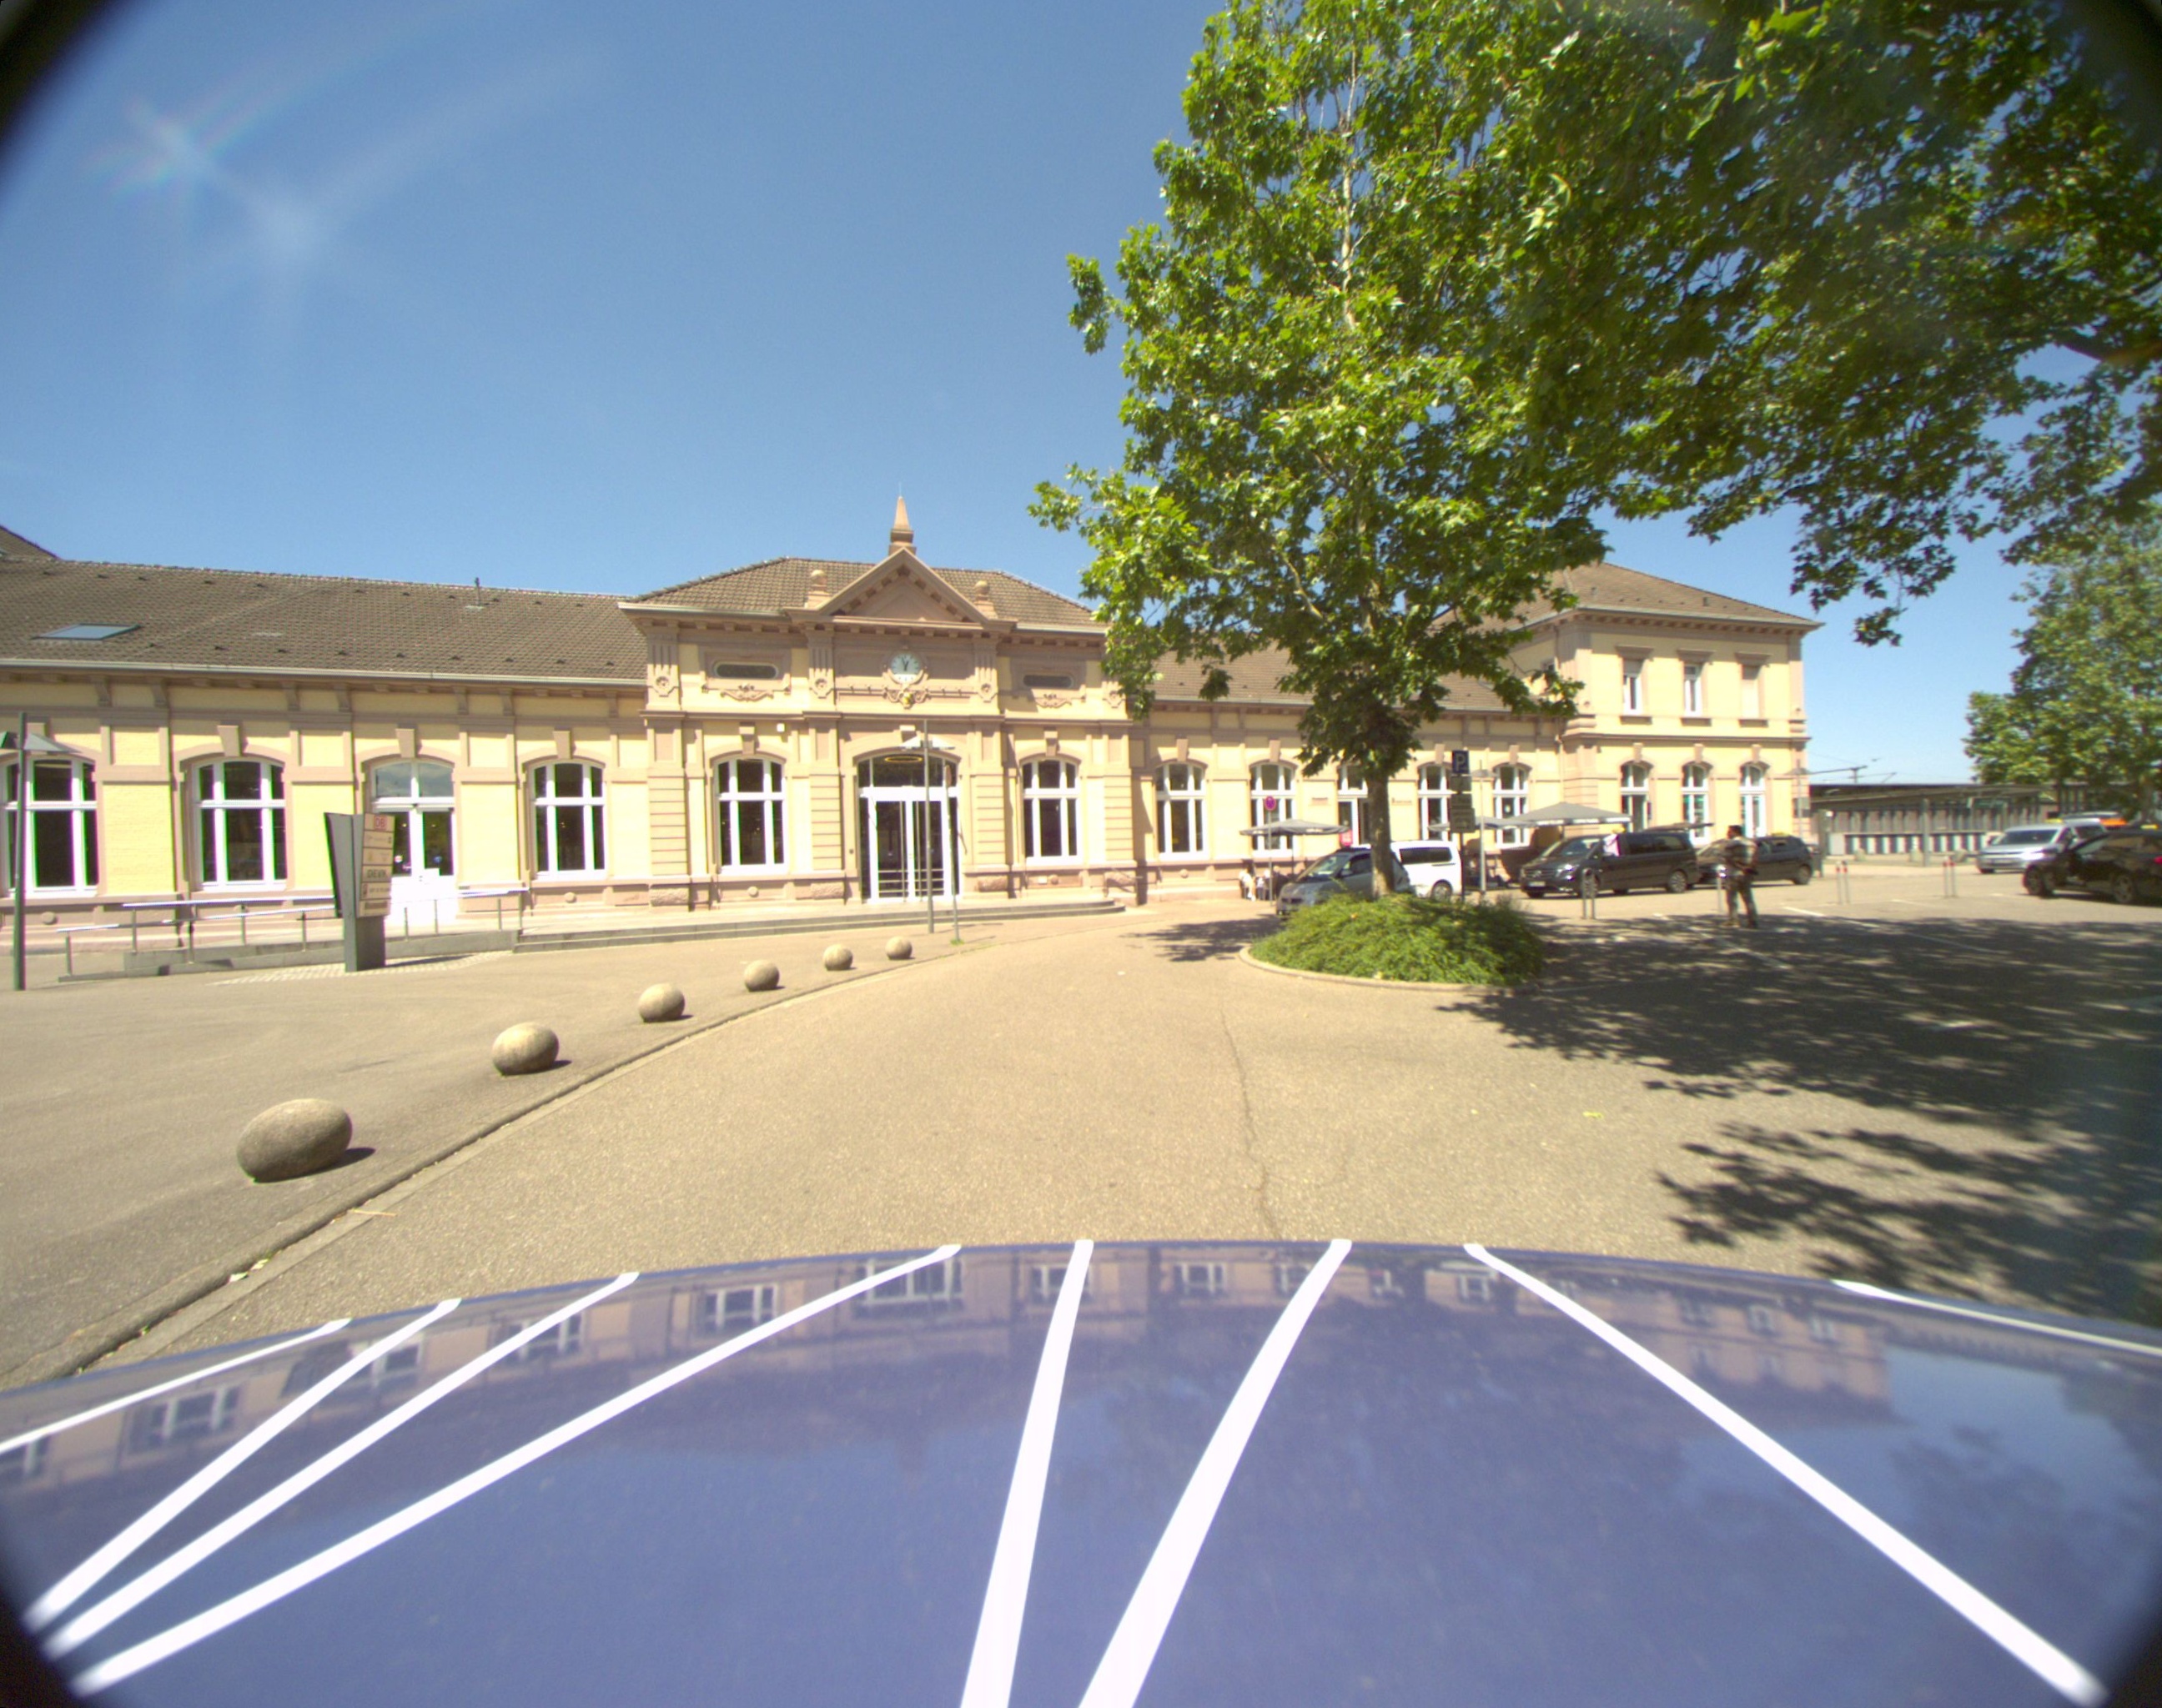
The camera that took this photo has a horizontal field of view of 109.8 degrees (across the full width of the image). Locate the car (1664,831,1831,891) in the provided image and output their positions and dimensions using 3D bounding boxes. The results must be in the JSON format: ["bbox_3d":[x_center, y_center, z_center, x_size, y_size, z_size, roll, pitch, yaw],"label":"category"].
[{"bbox_3d":[21.856,0.218,24.934,4.845,1.829,2.077,-1,-1,-21],"label":"car"}]

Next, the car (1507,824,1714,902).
[{"bbox_3d":[15.733,0.230,22.561,5.831,2.111,2.090,-1,-1,-21],"label":"car"}]

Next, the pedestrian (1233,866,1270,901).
[{"bbox_3d":[5.648,0.976,25.154,0.852,1.074,0.880,-2,2,-20],"label":"pedestrian"}]

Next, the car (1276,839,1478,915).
[{"bbox_3d":[8.083,0.583,20.797,5.143,1.854,1.812,-1,-1,-18],"label":"car"}]

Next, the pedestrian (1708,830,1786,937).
[{"bbox_3d":[11.046,0.478,12.638,0.772,1.707,0.816,-1,0,27],"label":"pedestrian"}]

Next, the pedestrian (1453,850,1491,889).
[{"bbox_3d":[14.366,0.567,27.928,0.852,1.363,0.880,-2,2,-20],"label":"pedestrian"}]

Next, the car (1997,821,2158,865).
[{"bbox_3d":[55.321,-0.567,42.330,2.053,2.107,4.959,-2,-2,-17],"label":"car"}]

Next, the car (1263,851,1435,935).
[{"bbox_3d":[5.751,0.783,16.390,3.108,1.584,1.600,-2,0,-16],"label":"car"}]

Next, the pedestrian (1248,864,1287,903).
[{"bbox_3d":[5.955,0.925,24.264,0.852,1.155,0.880,-2,2,-20],"label":"pedestrian"}]

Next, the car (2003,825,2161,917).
[{"bbox_3d":[21.275,0.253,15.294,1.796,1.534,4.537,-3,1,28],"label":"car"}]

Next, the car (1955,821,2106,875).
[{"bbox_3d":[35.991,-0.240,28.806,5.323,1.829,2.001,-2,-2,-21],"label":"car"}]
